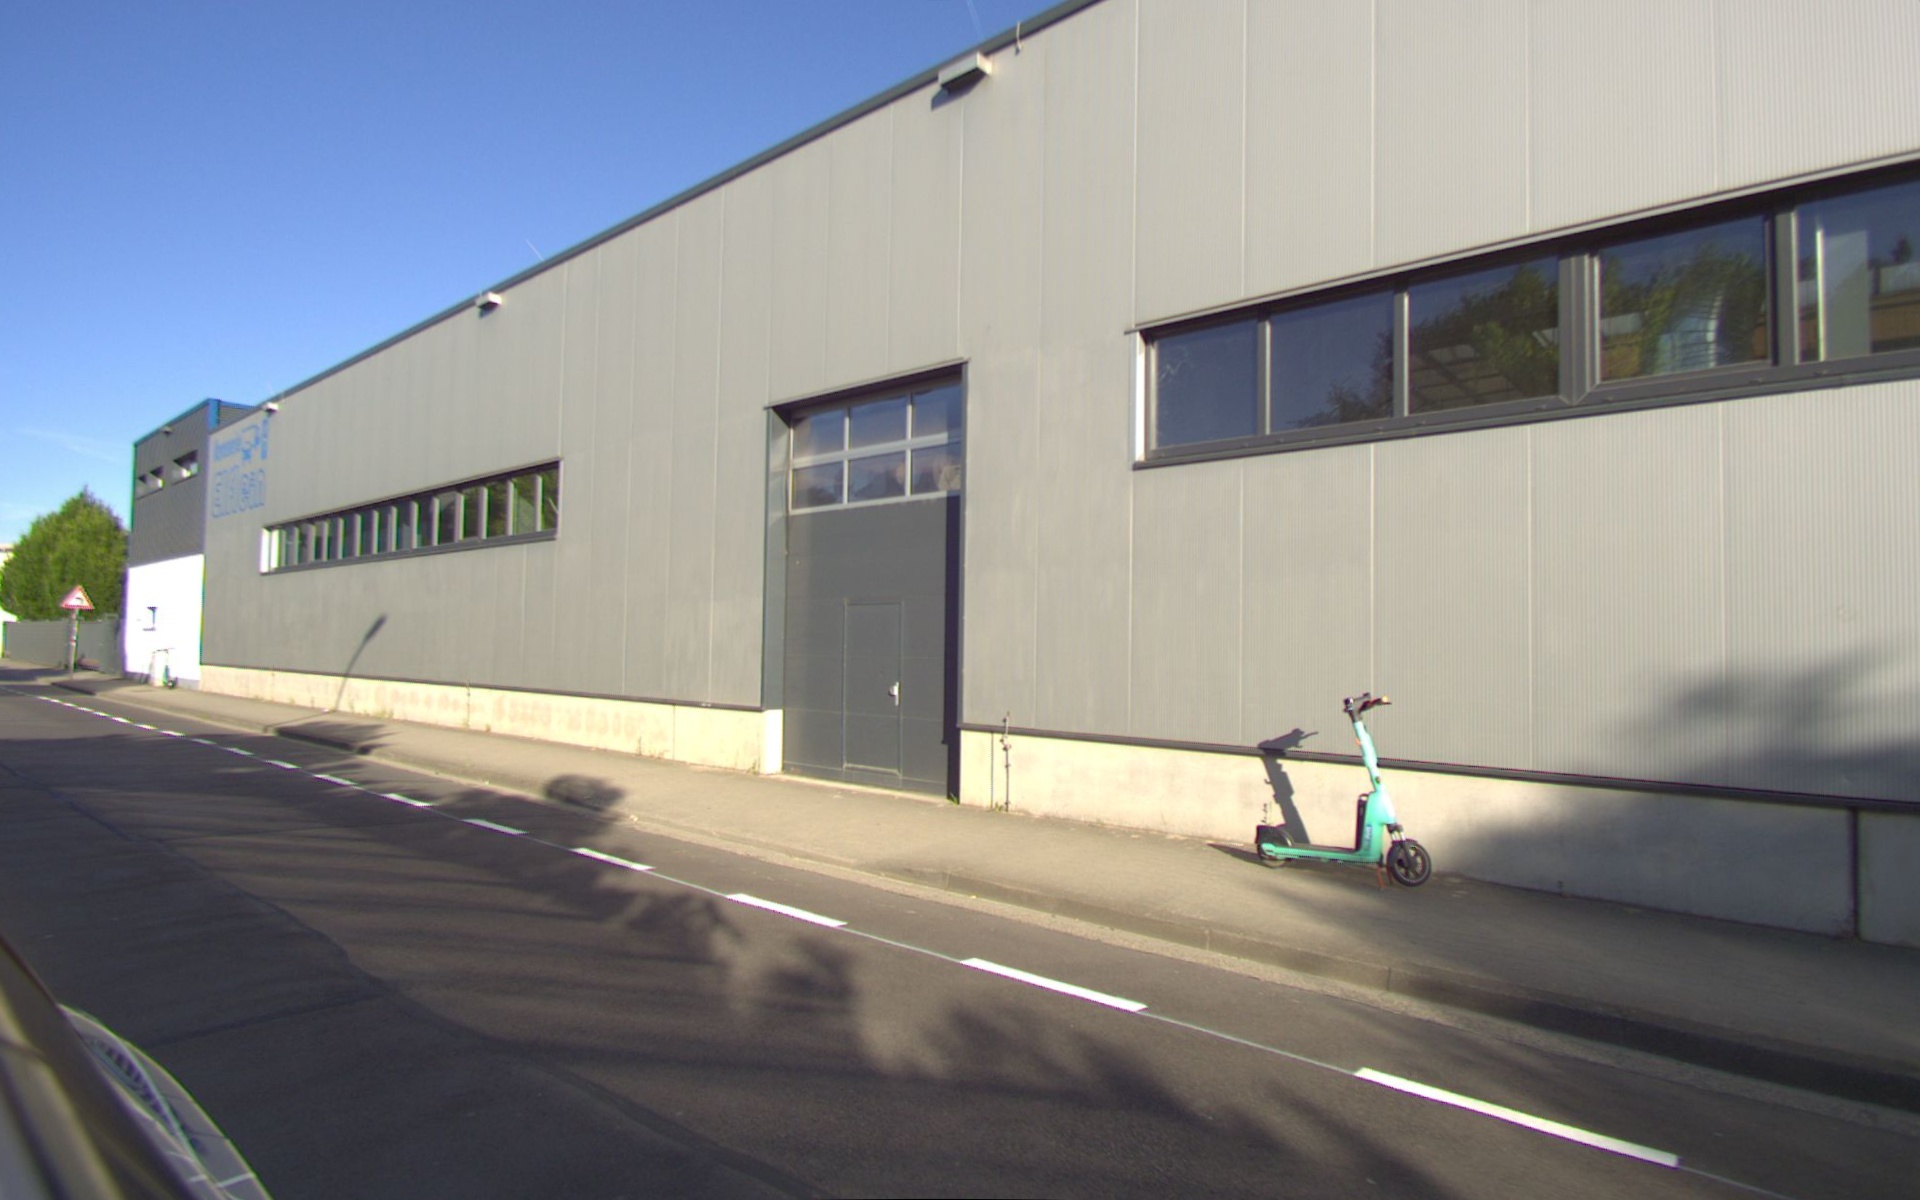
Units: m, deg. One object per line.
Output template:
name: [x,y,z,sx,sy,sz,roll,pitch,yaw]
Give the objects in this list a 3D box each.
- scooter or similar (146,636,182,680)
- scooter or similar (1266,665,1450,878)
scooter or similar: [-23.270,1.687,29.584,1.752,1.212,0.501,-1,0,42]
scooter or similar: [2.632,1.089,6.745,1.059,1.277,0.412,-2,-3,41]
